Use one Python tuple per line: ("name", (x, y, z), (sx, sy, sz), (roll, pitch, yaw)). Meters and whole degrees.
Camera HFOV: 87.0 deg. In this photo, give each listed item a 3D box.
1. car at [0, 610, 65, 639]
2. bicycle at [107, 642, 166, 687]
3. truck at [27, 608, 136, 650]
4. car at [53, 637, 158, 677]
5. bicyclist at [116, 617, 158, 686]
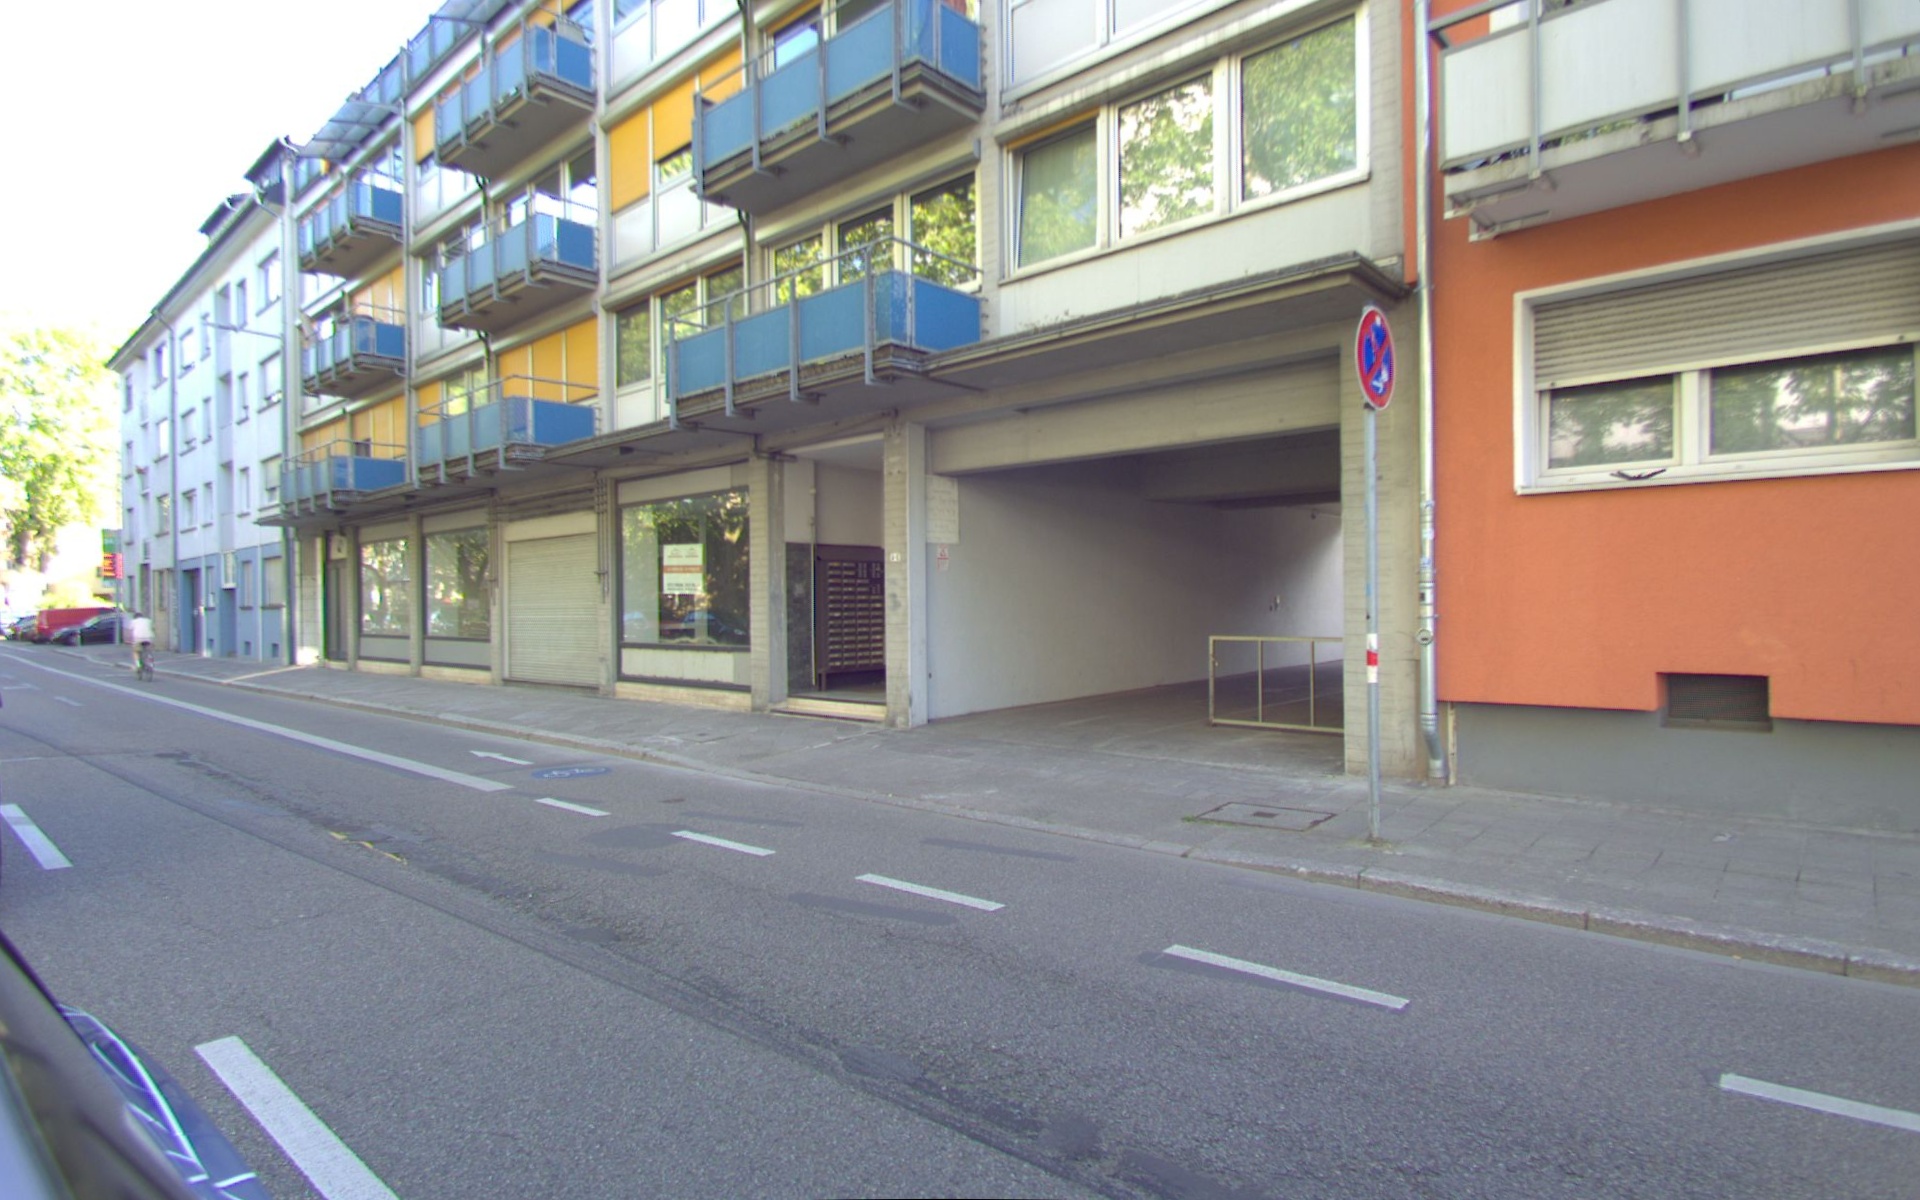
("car", (-67.432, 1.748, 73.102), (1.999, 2.029, 3.947), (-1, 0, 40))
("bicycle", (-20.226, 1.564, 24.829), (2.631, 0.994, 0.683), (-1, -1, 41))
("truck", (-48.706, 1.581, 56.199), (1.876, 2.174, 4.348), (-1, 0, 40))
("car", (-44.592, 2.950, 52.846), (1.830, 1.849, 3.946), (-1, 0, 40))
("bicyclist", (-20.114, 1.232, 24.732), (0.758, 1.643, 0.683), (-1, -1, 41))
